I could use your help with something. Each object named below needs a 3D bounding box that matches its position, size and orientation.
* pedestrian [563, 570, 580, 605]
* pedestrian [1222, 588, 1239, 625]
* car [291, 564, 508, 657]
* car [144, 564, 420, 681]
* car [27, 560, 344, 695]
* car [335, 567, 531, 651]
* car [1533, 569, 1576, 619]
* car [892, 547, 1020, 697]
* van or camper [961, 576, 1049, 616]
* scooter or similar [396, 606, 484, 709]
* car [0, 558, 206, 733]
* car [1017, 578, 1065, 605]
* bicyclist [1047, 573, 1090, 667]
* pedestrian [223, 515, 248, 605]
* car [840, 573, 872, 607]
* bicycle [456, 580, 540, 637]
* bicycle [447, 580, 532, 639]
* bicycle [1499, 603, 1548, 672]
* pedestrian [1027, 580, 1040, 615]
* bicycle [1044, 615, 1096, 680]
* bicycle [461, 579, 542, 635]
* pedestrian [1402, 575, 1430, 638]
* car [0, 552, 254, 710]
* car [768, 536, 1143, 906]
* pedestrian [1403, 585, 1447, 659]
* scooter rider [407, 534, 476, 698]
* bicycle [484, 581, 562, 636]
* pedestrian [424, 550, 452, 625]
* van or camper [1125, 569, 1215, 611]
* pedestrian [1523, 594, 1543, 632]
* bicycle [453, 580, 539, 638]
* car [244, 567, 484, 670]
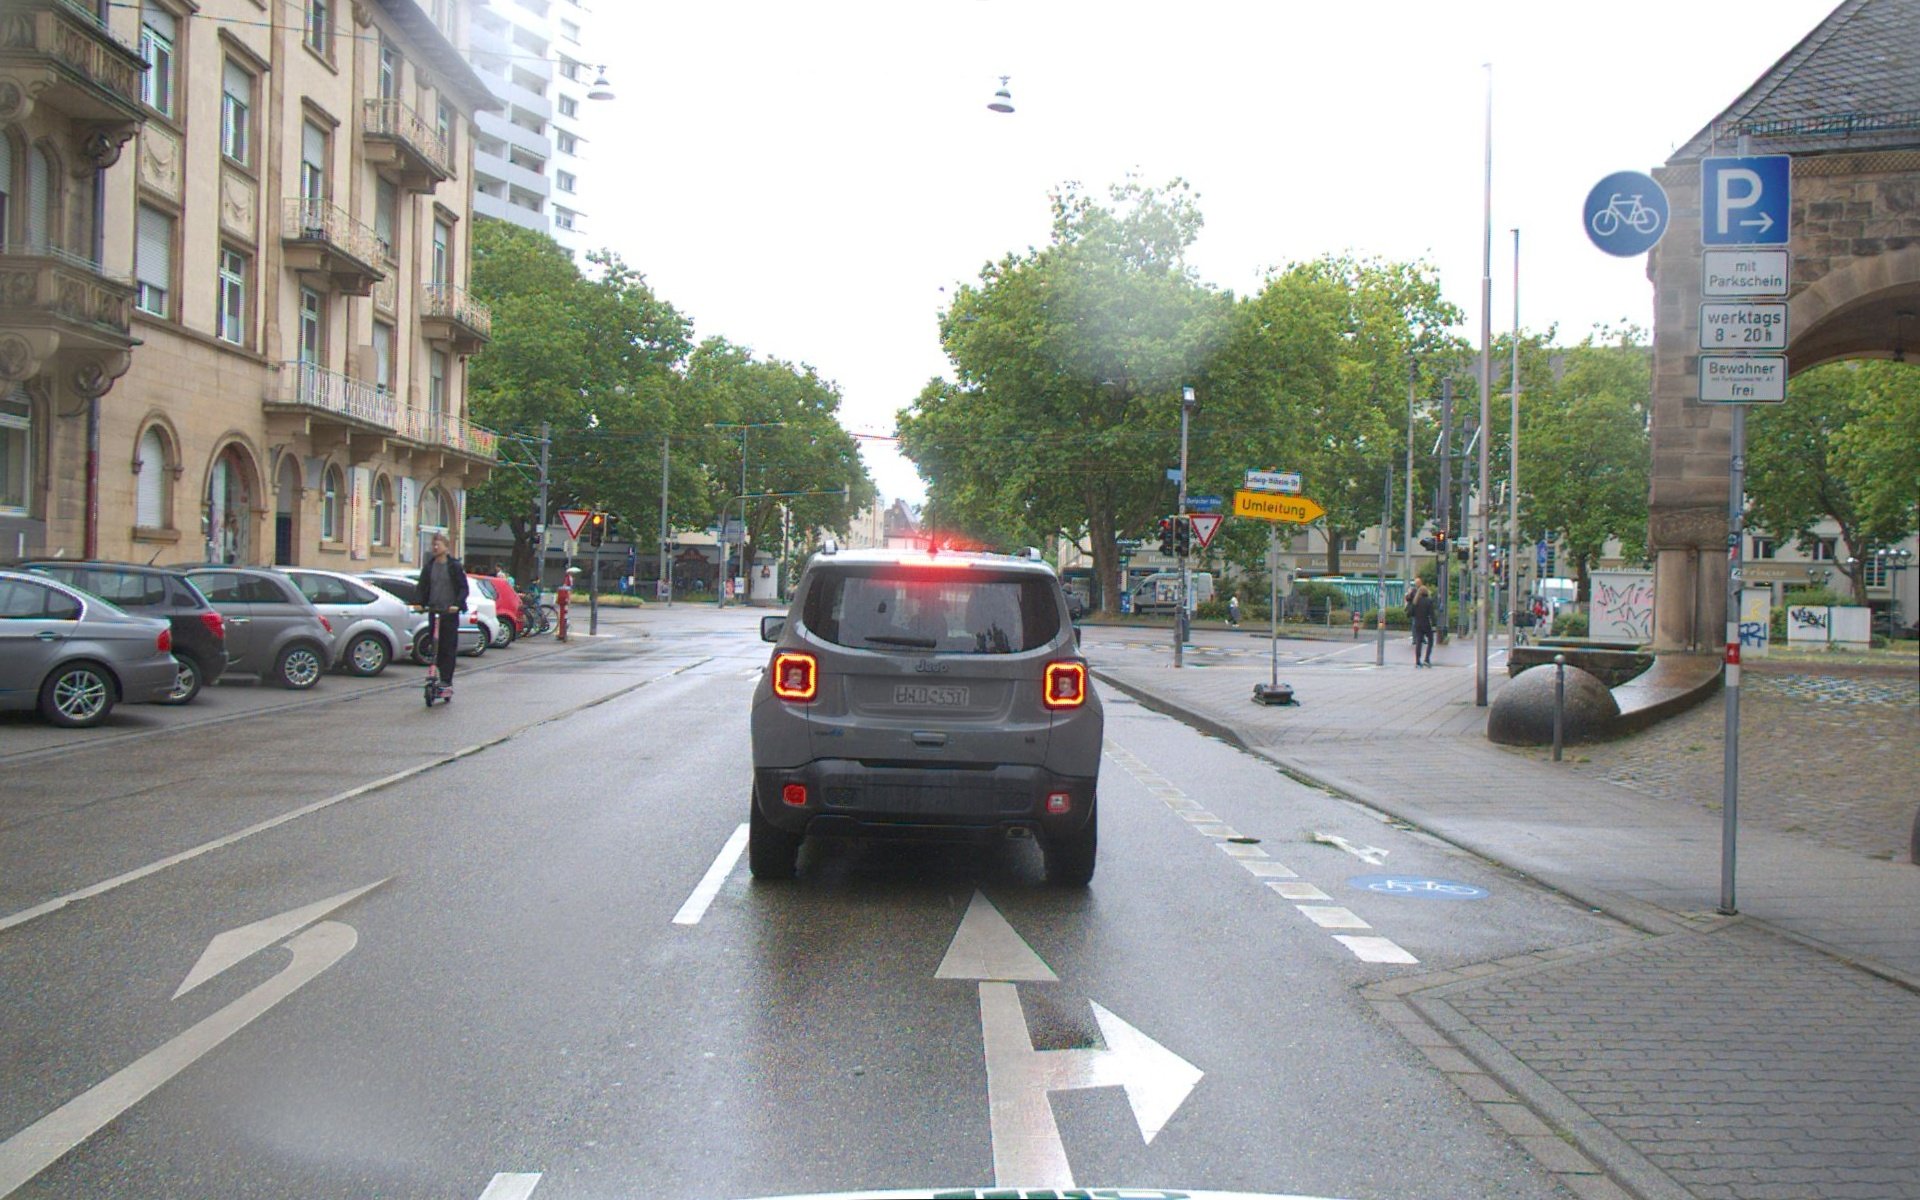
[{"bbox_3d":[-20.667,-0.677,87.938,0.677,1.858,0.621,1,0,15],"label":"pedestrian"},{"bbox_3d":[12.067,0.288,73.737,0.600,1.631,0.494,1,0,24],"label":"pedestrian"},{"bbox_3d":[-10.141,0.183,30.010,3.371,1.585,1.681,1,1,-40],"label":"car"},{"bbox_3d":[-9.834,0.304,24.073,3.371,1.585,1.681,1,1,-40],"label":"car"},{"bbox_3d":[-9.826,0.321,21.080,3.371,1.585,1.629,1,1,-40],"label":"car"},{"bbox_3d":[-10.520,0.166,33.092,3.371,1.585,1.681,1,1,-40],"label":"car"},{"bbox_3d":[32.011,-0.307,88.956,1.868,2.600,4.785,1,0,23],"label":"car"},{"bbox_3d":[-0.082,0.279,24.836,1.734,2.049,4.000,1,1,-1],"label":"car"},{"bbox_3d":[3.509,-0.340,129.880,6.399,2.963,2.492,1,0,26],"label":"van or camper"},{"bbox_3d":[-6.339,0.682,20.236,0.686,1.185,1.384,0,1,-3],"label":"scooter or similar"},{"bbox_3d":[-9.529,0.390,15.121,4.513,1.572,1.662,0,1,-44],"label":"car"},{"bbox_3d":[6.110,-0.630,124.518,3.363,2.049,1.549,0,0,13],"label":"car"},{"bbox_3d":[1.925,0.339,29.356,0.673,1.645,0.883,0,0,-2],"label":"bicyclist"},{"bbox_3d":[-15.053,-0.834,34.370,0.359,1.854,0.347,0,0,-3],"label":"pedestrian"},{"bbox_3d":[-5.663,-0.552,89.963,1.687,1.769,3.726,1,1,-4],"label":"car"},{"bbox_3d":[-10.622,0.198,38.072,1.774,1.288,0.498,1,0,-2],"label":"bicycle"},{"bbox_3d":[-10.465,0.214,36.843,1.728,1.288,0.522,1,0,-2],"label":"bicycle"},{"bbox_3d":[10.117,0.658,29.756,0.322,1.174,2.076,1,1,5],"label":"bicycle"},{"bbox_3d":[4.341,-0.138,98.041,0.637,2.049,0.483,1,0,12],"label":"pedestrian"},{"bbox_3d":[1.930,0.815,29.415,0.678,1.039,2.657,0,1,-2],"label":"bicycle"},{"bbox_3d":[-10.837,0.166,39.100,1.728,1.288,0.608,1,0,-2],"label":"bicycle"},{"bbox_3d":[13.310,0.181,48.282,0.769,1.790,0.946,1,0,14],"label":"pedestrian"},{"bbox_3d":[-9.795,0.305,18.092,3.520,1.626,1.583,1,1,-40],"label":"car"},{"bbox_3d":[-0.065,0.539,9.614,1.739,1.716,3.847,0,1,-1],"label":"car"},{"bbox_3d":[10.610,0.495,37.746,0.770,1.674,0.652,1,0,37],"label":"pedestrian"},{"bbox_3d":[-6.338,0.190,20.235,0.696,1.969,0.503,0,0,-3],"label":"scooter rider"},{"bbox_3d":[-10.556,0.207,39.980,1.728,1.288,0.608,1,0,-2],"label":"bicycle"},{"bbox_3d":[-14.405,-0.354,45.652,0.556,2.049,0.654,1,0,-1],"label":"pedestrian"},{"bbox_3d":[12.637,-0.630,99.812,5.149,2.355,2.091,2,1,3],"label":"van or camper"},{"bbox_3d":[24.270,0.557,70.083,0.660,1.581,0.761,1,-1,27],"label":"pedestrian"},{"bbox_3d":[-10.488,0.199,37.389,1.774,1.288,0.498,1,0,-2],"label":"bicycle"},{"bbox_3d":[-9.804,0.293,27.294,3.371,1.585,1.681,1,1,-40],"label":"car"}]
